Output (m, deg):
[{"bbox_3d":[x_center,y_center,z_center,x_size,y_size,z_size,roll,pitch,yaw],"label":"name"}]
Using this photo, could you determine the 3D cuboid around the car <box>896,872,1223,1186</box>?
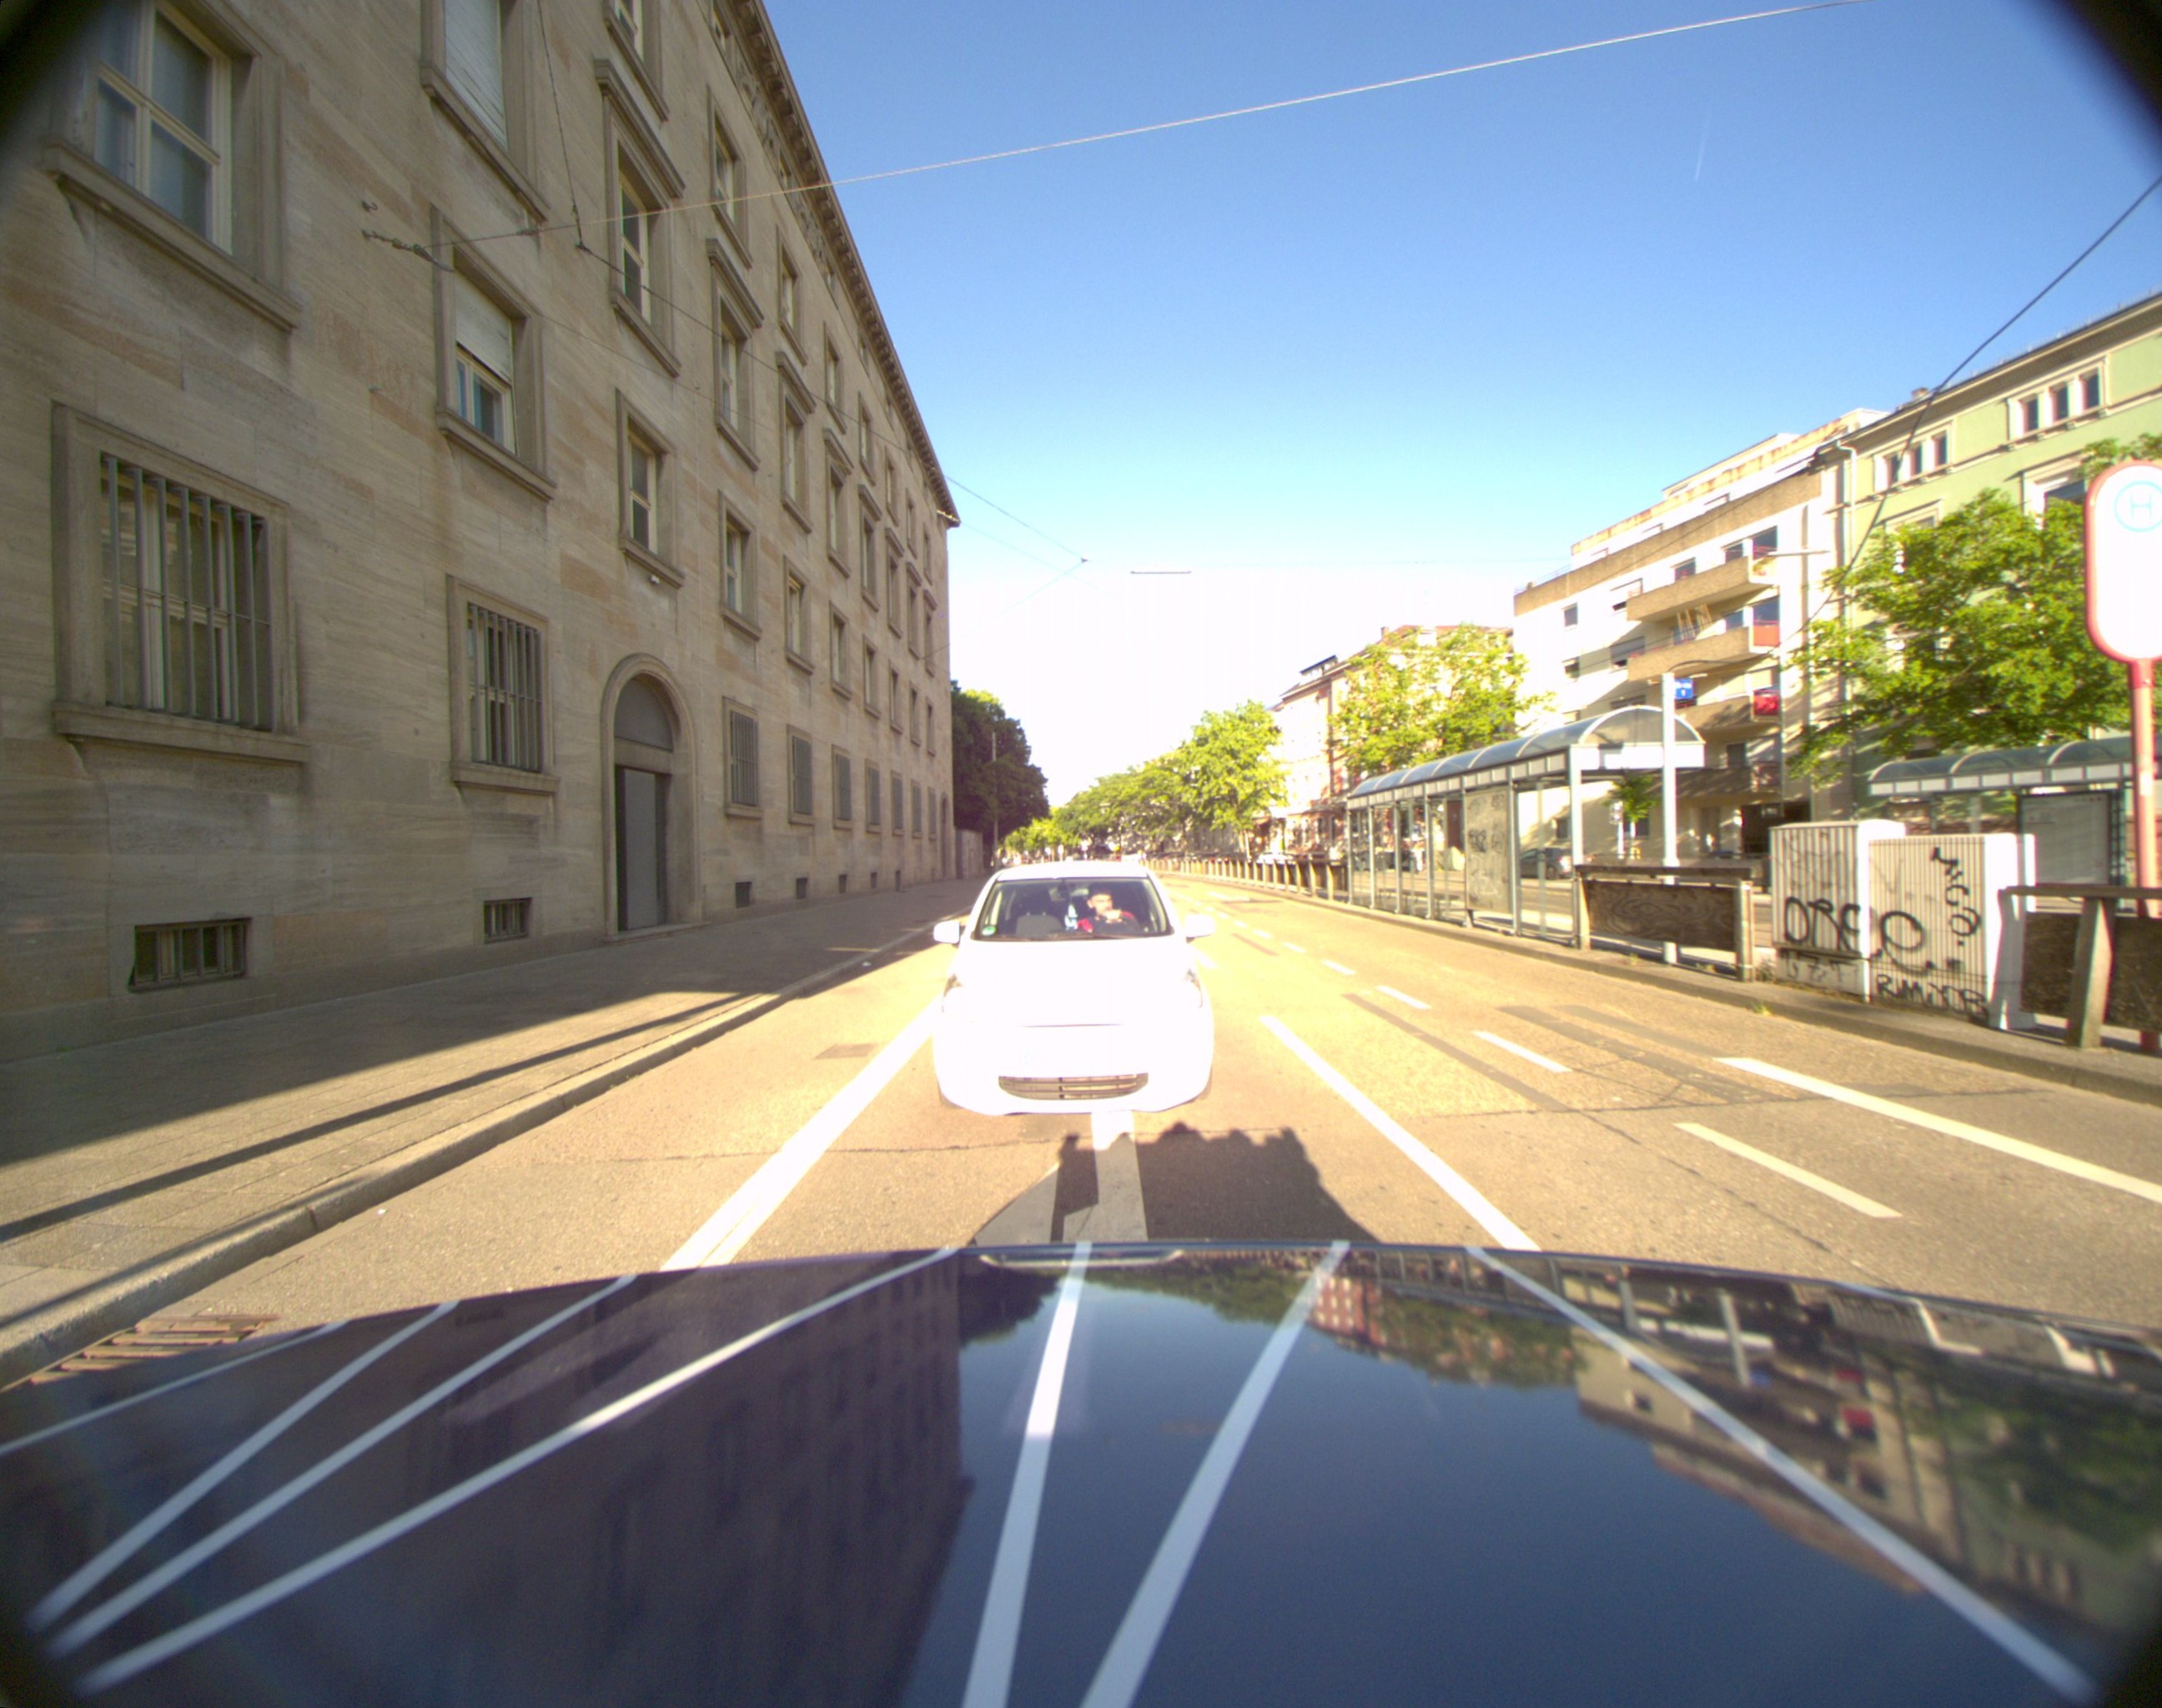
[{"bbox_3d":[-0.082,0.924,5.636,1.612,1.450,3.667,-1,0,1],"label":"car"}]

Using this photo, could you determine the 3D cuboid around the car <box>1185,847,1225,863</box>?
[{"bbox_3d":[13.157,0.083,80.532,3.996,1.674,2.000,-1,0,4],"label":"car"}]

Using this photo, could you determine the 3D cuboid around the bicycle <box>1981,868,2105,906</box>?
[{"bbox_3d":[22.229,0.734,17.612,0.536,0.783,1.853,-1,0,1],"label":"bicycle"}]

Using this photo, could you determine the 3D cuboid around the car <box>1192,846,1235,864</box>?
[{"bbox_3d":[13.350,0.111,76.729,3.996,1.674,2.000,-1,0,4],"label":"car"}]

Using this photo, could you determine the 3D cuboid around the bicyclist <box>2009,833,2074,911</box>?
[{"bbox_3d":[22.224,0.408,17.588,0.536,1.751,0.771,-1,1,1],"label":"bicyclist"}]

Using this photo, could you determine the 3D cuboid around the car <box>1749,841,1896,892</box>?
[{"bbox_3d":[23.932,0.370,24.553,3.796,1.526,1.772,-1,0,-17],"label":"car"}]

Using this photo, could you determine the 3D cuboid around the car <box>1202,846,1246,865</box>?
[{"bbox_3d":[13.636,0.127,72.595,3.996,1.674,2.000,-1,0,4],"label":"car"}]

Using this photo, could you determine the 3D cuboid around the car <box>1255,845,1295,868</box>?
[{"bbox_3d":[16.304,0.162,63.680,1.994,1.713,4.007,0,2,34],"label":"car"}]

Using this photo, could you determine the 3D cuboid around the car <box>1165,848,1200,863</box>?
[{"bbox_3d":[11.436,0.142,86.092,3.864,1.583,2.001,-1,0,5],"label":"car"}]

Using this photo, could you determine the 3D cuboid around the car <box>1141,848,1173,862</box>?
[{"bbox_3d":[9.564,0.127,95.718,3.864,1.583,2.001,-1,0,4],"label":"car"}]

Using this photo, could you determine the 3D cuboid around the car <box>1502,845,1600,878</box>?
[{"bbox_3d":[20.844,0.316,33.837,1.615,1.387,3.516,-1,0,-19],"label":"car"}]
